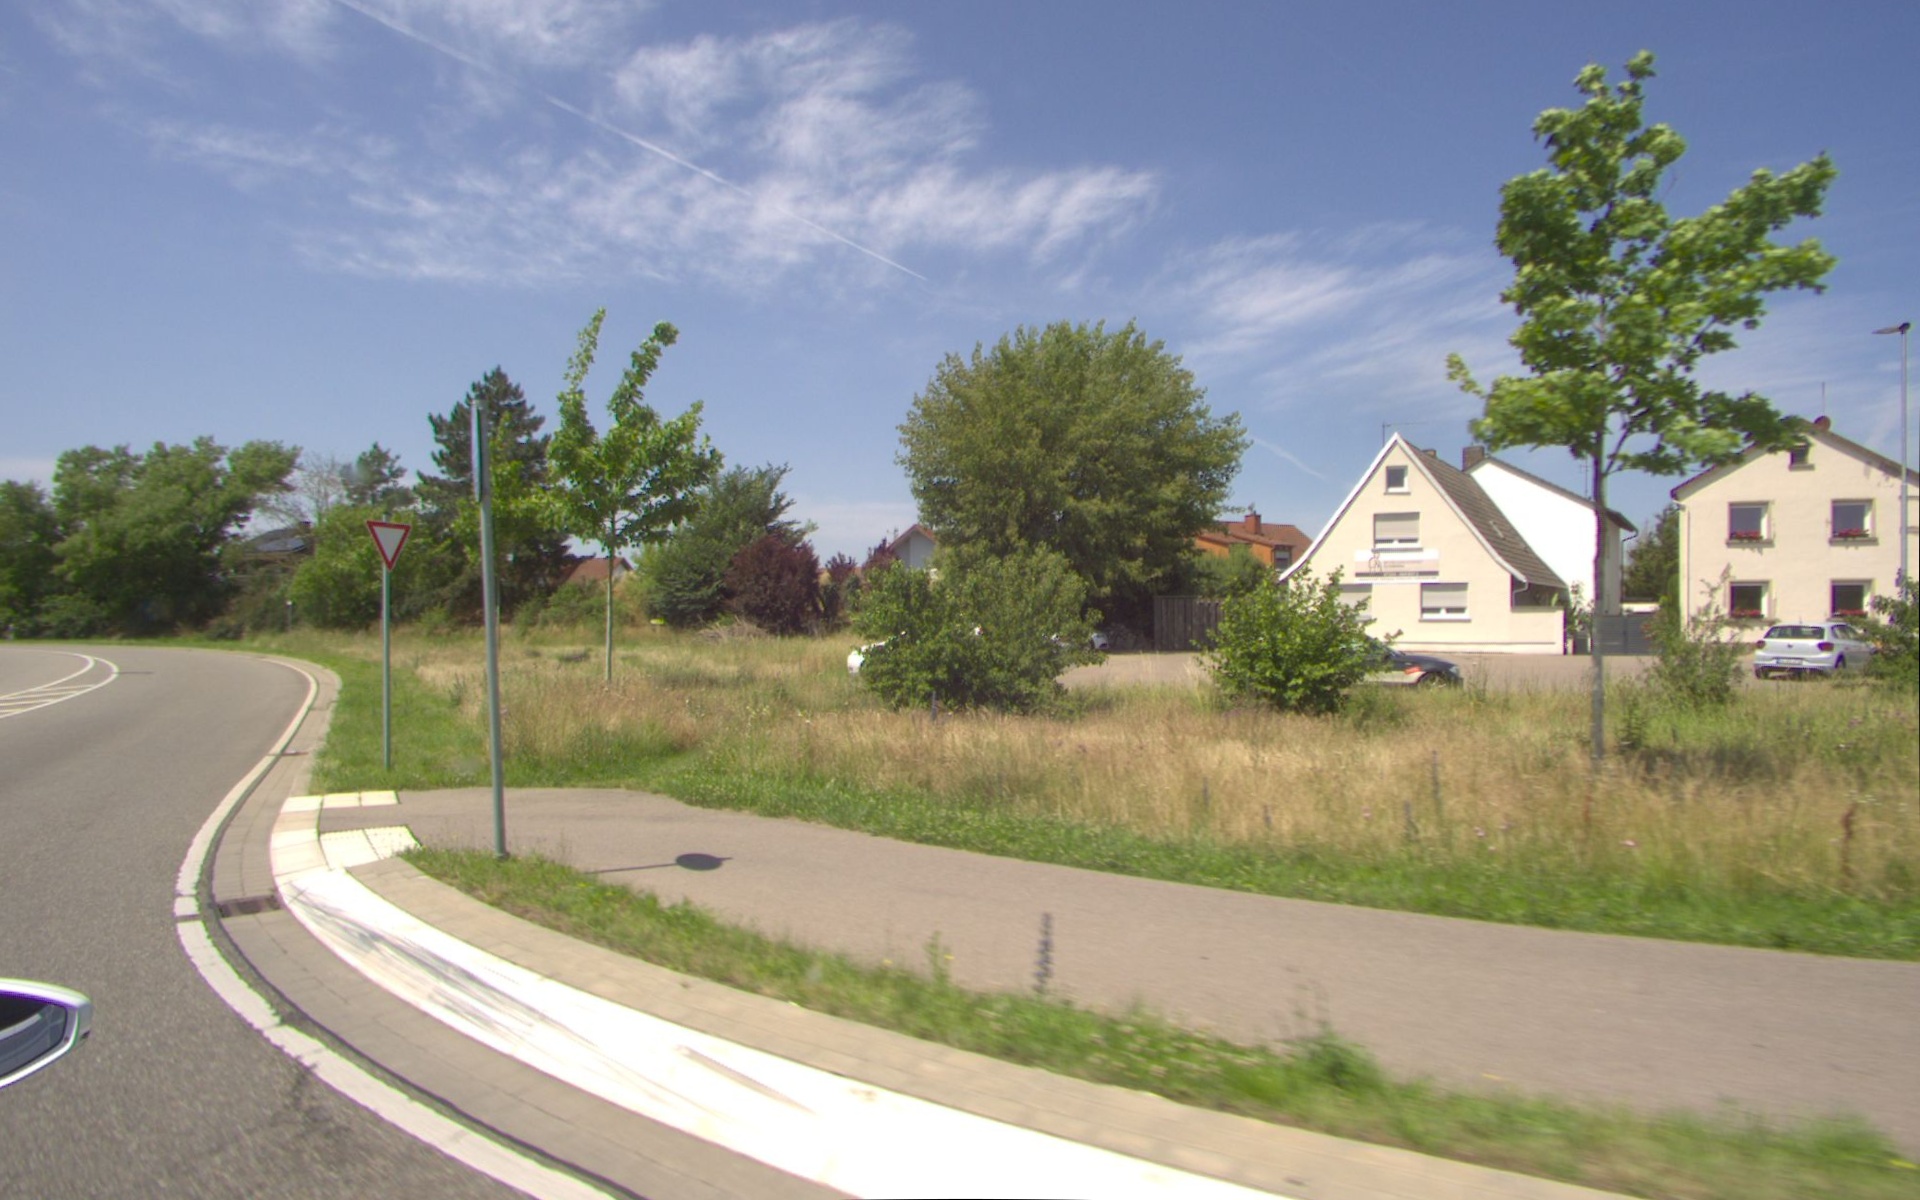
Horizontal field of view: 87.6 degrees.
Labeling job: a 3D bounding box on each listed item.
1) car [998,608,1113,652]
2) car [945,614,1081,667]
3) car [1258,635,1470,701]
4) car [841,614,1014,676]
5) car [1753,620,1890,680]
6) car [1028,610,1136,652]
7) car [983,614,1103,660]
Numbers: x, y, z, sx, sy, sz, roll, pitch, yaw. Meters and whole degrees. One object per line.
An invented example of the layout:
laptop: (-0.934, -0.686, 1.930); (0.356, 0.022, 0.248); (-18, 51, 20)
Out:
car: (3.521, 1.093, 36.723); (3.893, 1.461, 1.772); (1, -1, 16)
car: (1.654, 1.227, 30.996); (3.894, 1.461, 1.772); (1, -1, 16)
car: (8.561, 1.427, 21.539); (3.923, 1.328, 1.747); (0, -1, 9)
car: (-0.769, 1.085, 24.588); (3.926, 1.446, 1.746); (0, -1, 14)
car: (22.048, 1.230, 25.608); (3.947, 1.411, 1.641); (1, -1, -33)
car: (4.744, 1.173, 38.783); (3.893, 1.461, 1.772); (1, -1, 16)
car: (2.756, 1.246, 33.855); (3.922, 1.505, 1.748); (0, -1, 2)
